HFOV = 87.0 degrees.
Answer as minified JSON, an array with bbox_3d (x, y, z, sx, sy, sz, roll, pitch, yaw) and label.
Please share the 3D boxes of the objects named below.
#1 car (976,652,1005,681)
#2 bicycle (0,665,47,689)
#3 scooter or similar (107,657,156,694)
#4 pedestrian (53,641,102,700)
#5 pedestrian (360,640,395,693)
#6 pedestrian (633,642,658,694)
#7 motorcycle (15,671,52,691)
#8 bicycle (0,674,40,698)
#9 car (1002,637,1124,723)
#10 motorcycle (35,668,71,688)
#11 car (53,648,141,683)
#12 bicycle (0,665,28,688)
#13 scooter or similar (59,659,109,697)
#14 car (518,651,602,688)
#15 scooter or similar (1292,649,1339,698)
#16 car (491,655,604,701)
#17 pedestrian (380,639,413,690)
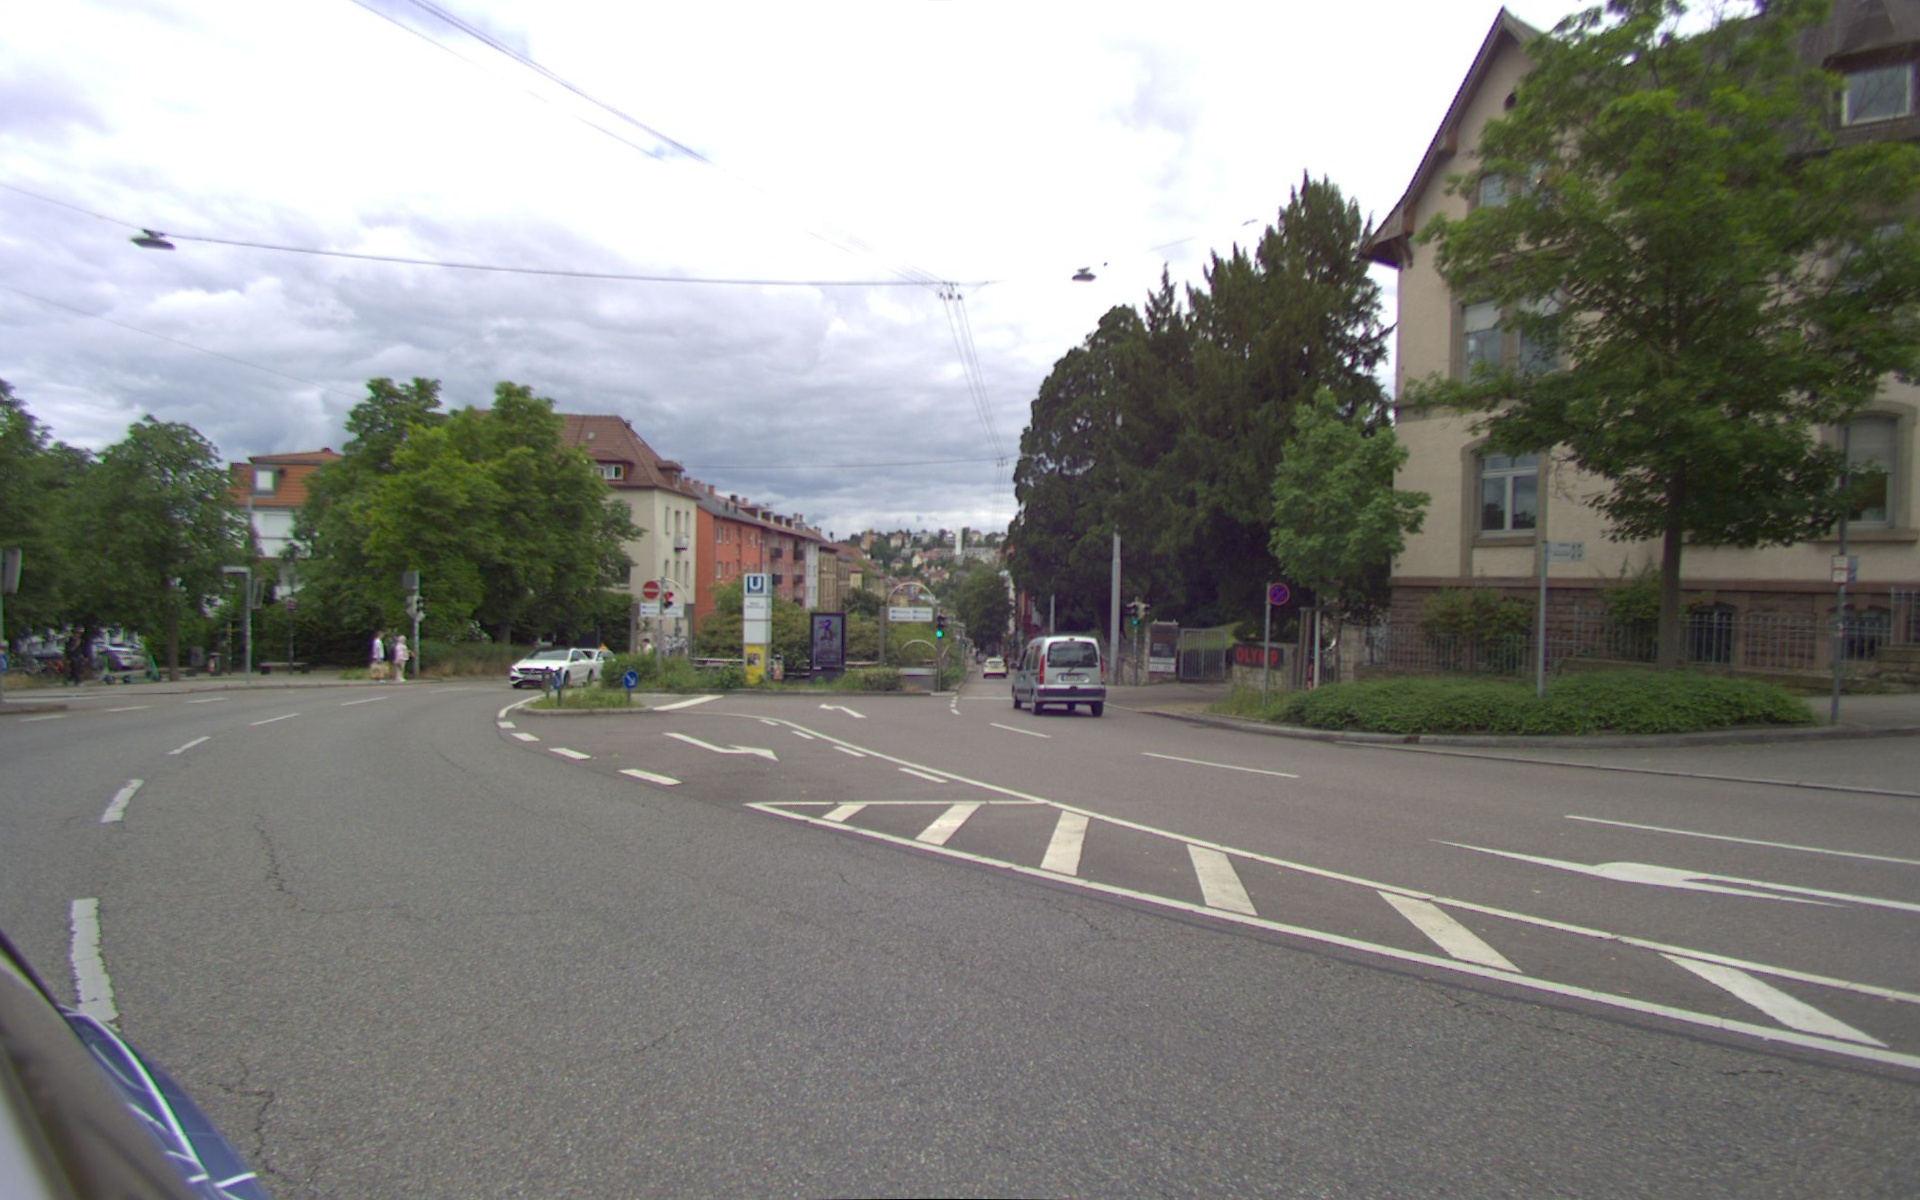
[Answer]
[{"bbox_3d":[2.313,5.002,76.821,1.971,2.029,4.000,-1,-2,-1],"label":"car"},{"bbox_3d":[-49.572,4.009,52.698,0.915,1.154,2.939,-2,-3,16],"label":"bicycle"},{"bbox_3d":[-29.042,2.638,35.489,1.226,1.235,0.502,-1,-2,-20],"label":"scooter or similar"},{"bbox_3d":[-29.405,2.339,33.728,0.958,1.901,0.851,-2,-3,20],"label":"pedestrian"},{"bbox_3d":[-19.493,2.213,33.877,0.609,1.725,0.726,2,-3,5],"label":"pedestrian"},{"bbox_3d":[-11.607,2.504,37.326,0.699,1.875,0.612,-2,-4,8],"label":"pedestrian"},{"bbox_3d":[-52.065,4.522,56.891,0.742,1.041,2.061,0,-3,-19],"label":"motorcycle"},{"bbox_3d":[-48.855,4.379,51.523,0.915,1.154,2.939,-2,-3,16],"label":"bicycle"},{"bbox_3d":[2.341,1.829,24.169,1.887,1.844,4.047,0,-3,-9],"label":"car"},{"bbox_3d":[-51.270,4.403,57.237,0.742,1.041,2.061,0,-3,-19],"label":"motorcycle"},{"bbox_3d":[-52.728,3.966,61.921,3.722,2.029,2.006,1,-3,-27],"label":"car"},{"bbox_3d":[-47.977,3.794,49.880,0.915,1.154,2.939,-2,-3,16],"label":"bicycle"},{"bbox_3d":[-30.463,2.716,35.213,1.226,1.235,0.502,-1,-2,-20],"label":"scooter or similar"},{"bbox_3d":[-17.231,2.973,43.766,1.972,1.499,4.229,-1,-3,0],"label":"car"},{"bbox_3d":[8.701,1.811,24.831,0.544,1.169,1.210,0,-5,-8],"label":"scooter or similar"},{"bbox_3d":[-14.261,2.684,35.297,1.974,1.409,4.225,2,-3,4],"label":"car"},{"bbox_3d":[-19.703,2.258,35.411,0.609,1.725,0.726,2,-3,5],"label":"pedestrian"}]
